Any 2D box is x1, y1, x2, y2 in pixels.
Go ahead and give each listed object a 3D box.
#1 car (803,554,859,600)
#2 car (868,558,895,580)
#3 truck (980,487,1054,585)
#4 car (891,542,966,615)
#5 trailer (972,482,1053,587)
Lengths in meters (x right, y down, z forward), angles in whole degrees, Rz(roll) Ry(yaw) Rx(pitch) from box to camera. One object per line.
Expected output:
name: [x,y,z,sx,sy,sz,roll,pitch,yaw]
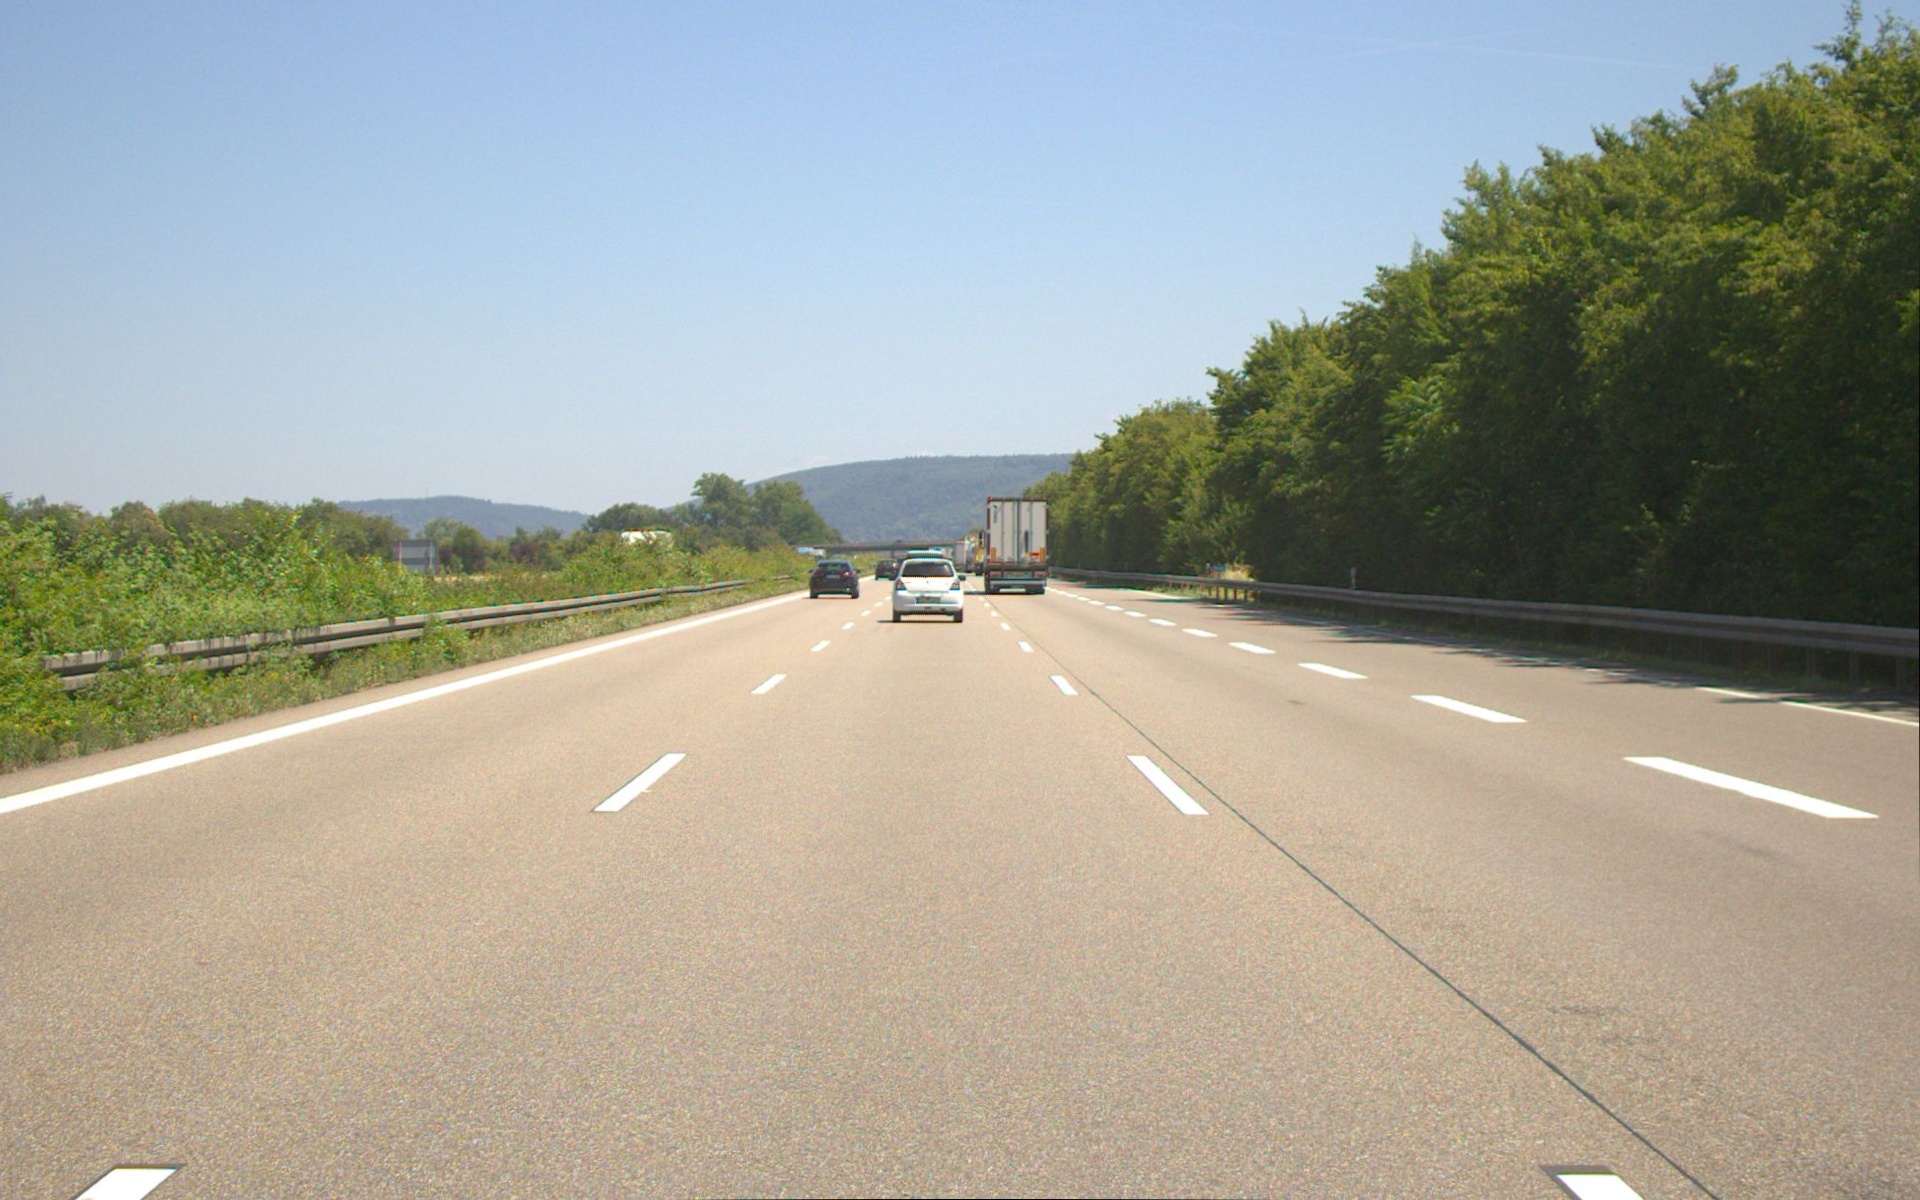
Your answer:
car: [-4.836,-0.877,129.280,1.993,1.706,4.000,1,1,-1]
car: [-5.487,-2.162,240.171,1.795,1.545,4.000,0,0,0]
truck: [2.634,-2.909,157.715,3.218,4.330,6.590,1,1,2]
car: [-0.783,-0.534,82.569,1.732,1.678,4.000,-1,1,-1]
trailer: [2.377,-2.821,150.137,3.218,4.330,13.628,1,1,2]
